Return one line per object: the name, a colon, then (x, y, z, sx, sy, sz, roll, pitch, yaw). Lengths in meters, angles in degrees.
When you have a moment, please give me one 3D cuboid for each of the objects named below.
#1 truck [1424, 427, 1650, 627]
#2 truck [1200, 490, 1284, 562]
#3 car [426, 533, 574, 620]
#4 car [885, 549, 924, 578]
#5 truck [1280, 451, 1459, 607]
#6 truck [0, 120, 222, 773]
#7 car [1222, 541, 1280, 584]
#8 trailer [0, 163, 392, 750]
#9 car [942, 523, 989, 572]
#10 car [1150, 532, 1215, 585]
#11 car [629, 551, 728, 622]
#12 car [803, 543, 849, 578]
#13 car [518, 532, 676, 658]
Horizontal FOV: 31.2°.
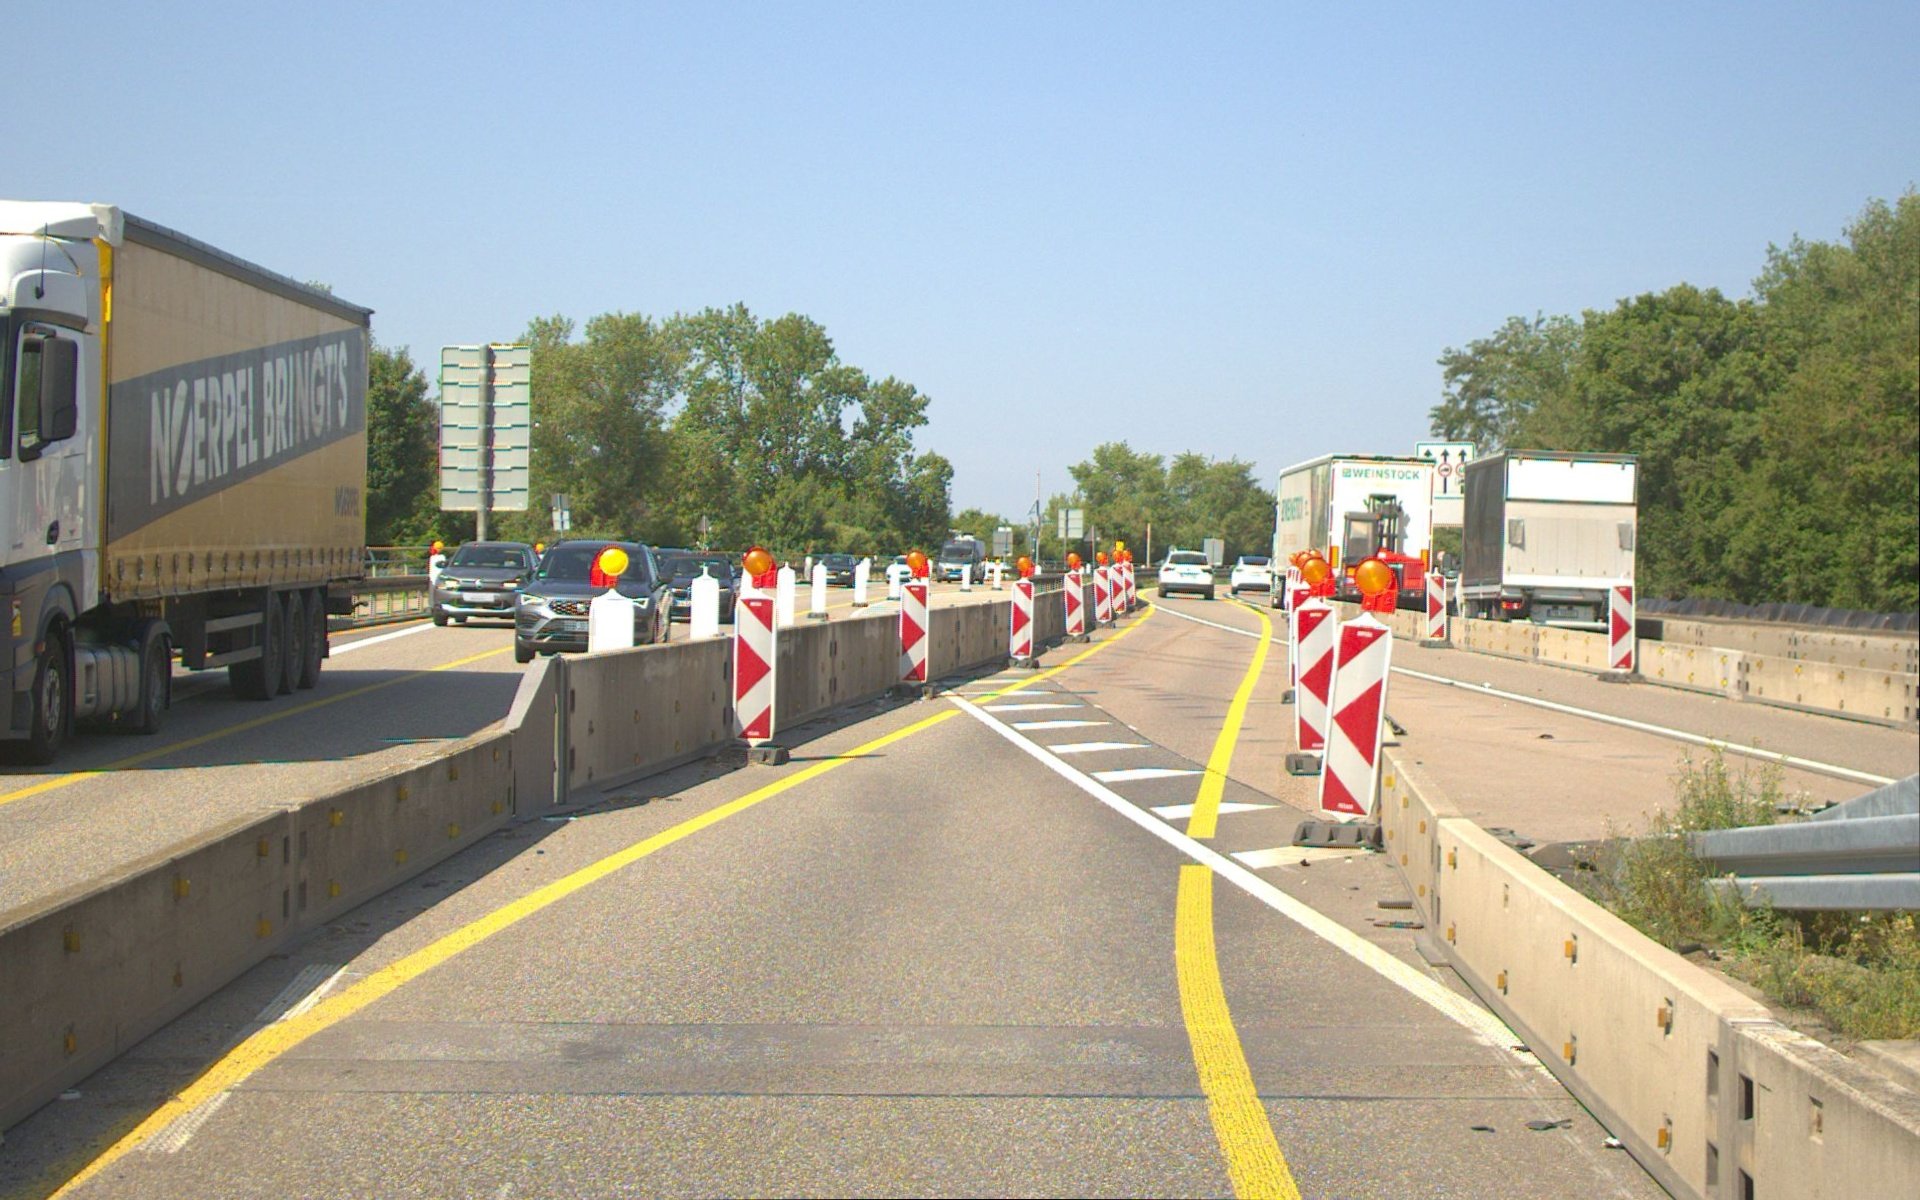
truck: (10.353, -1.333, 62.395, 2.634, 3.416, 7.234, 0, 1, -2)
truck: (16.922, -4.413, 207.313, 4.220, 4.252, 10.241, 0, 1, 0)
car: (-8.298, -0.446, 62.387, 1.932, 1.503, 4.469, 1, 1, 2)
car: (-2.792, -1.824, 172.495, 1.719, 1.392, 4.520, 2, 1, 2)
truck: (10.207, -1.757, 86.417, 3.388, 3.761, 7.234, 0, 1, -2)
truck: (-7.338, -1.018, 24.898, 2.749, 4.122, 6.416, 0, 1, -1)
car: (12.211, -1.594, 144.504, 1.993, 1.770, 4.000, 0, 1, -2)
trailer: (-7.546, -1.116, 31.370, 2.761, 4.122, 14.533, 0, 1, -2)
car: (0.320, -2.916, 191.269, 2.146, 2.651, 5.545, 1, 1, 4)
car: (7.521, -1.419, 116.573, 1.816, 1.770, 4.000, 0, 1, -2)
car: (-5.711, -0.299, 70.198, 1.689, 1.371, 4.273, 1, 1, 0)
car: (-5.741, -1.702, 147.713, 1.737, 1.471, 4.646, 1, 1, 0)
car: (-4.725, -0.101, 45.185, 1.790, 1.563, 3.873, 1, 1, -2)
